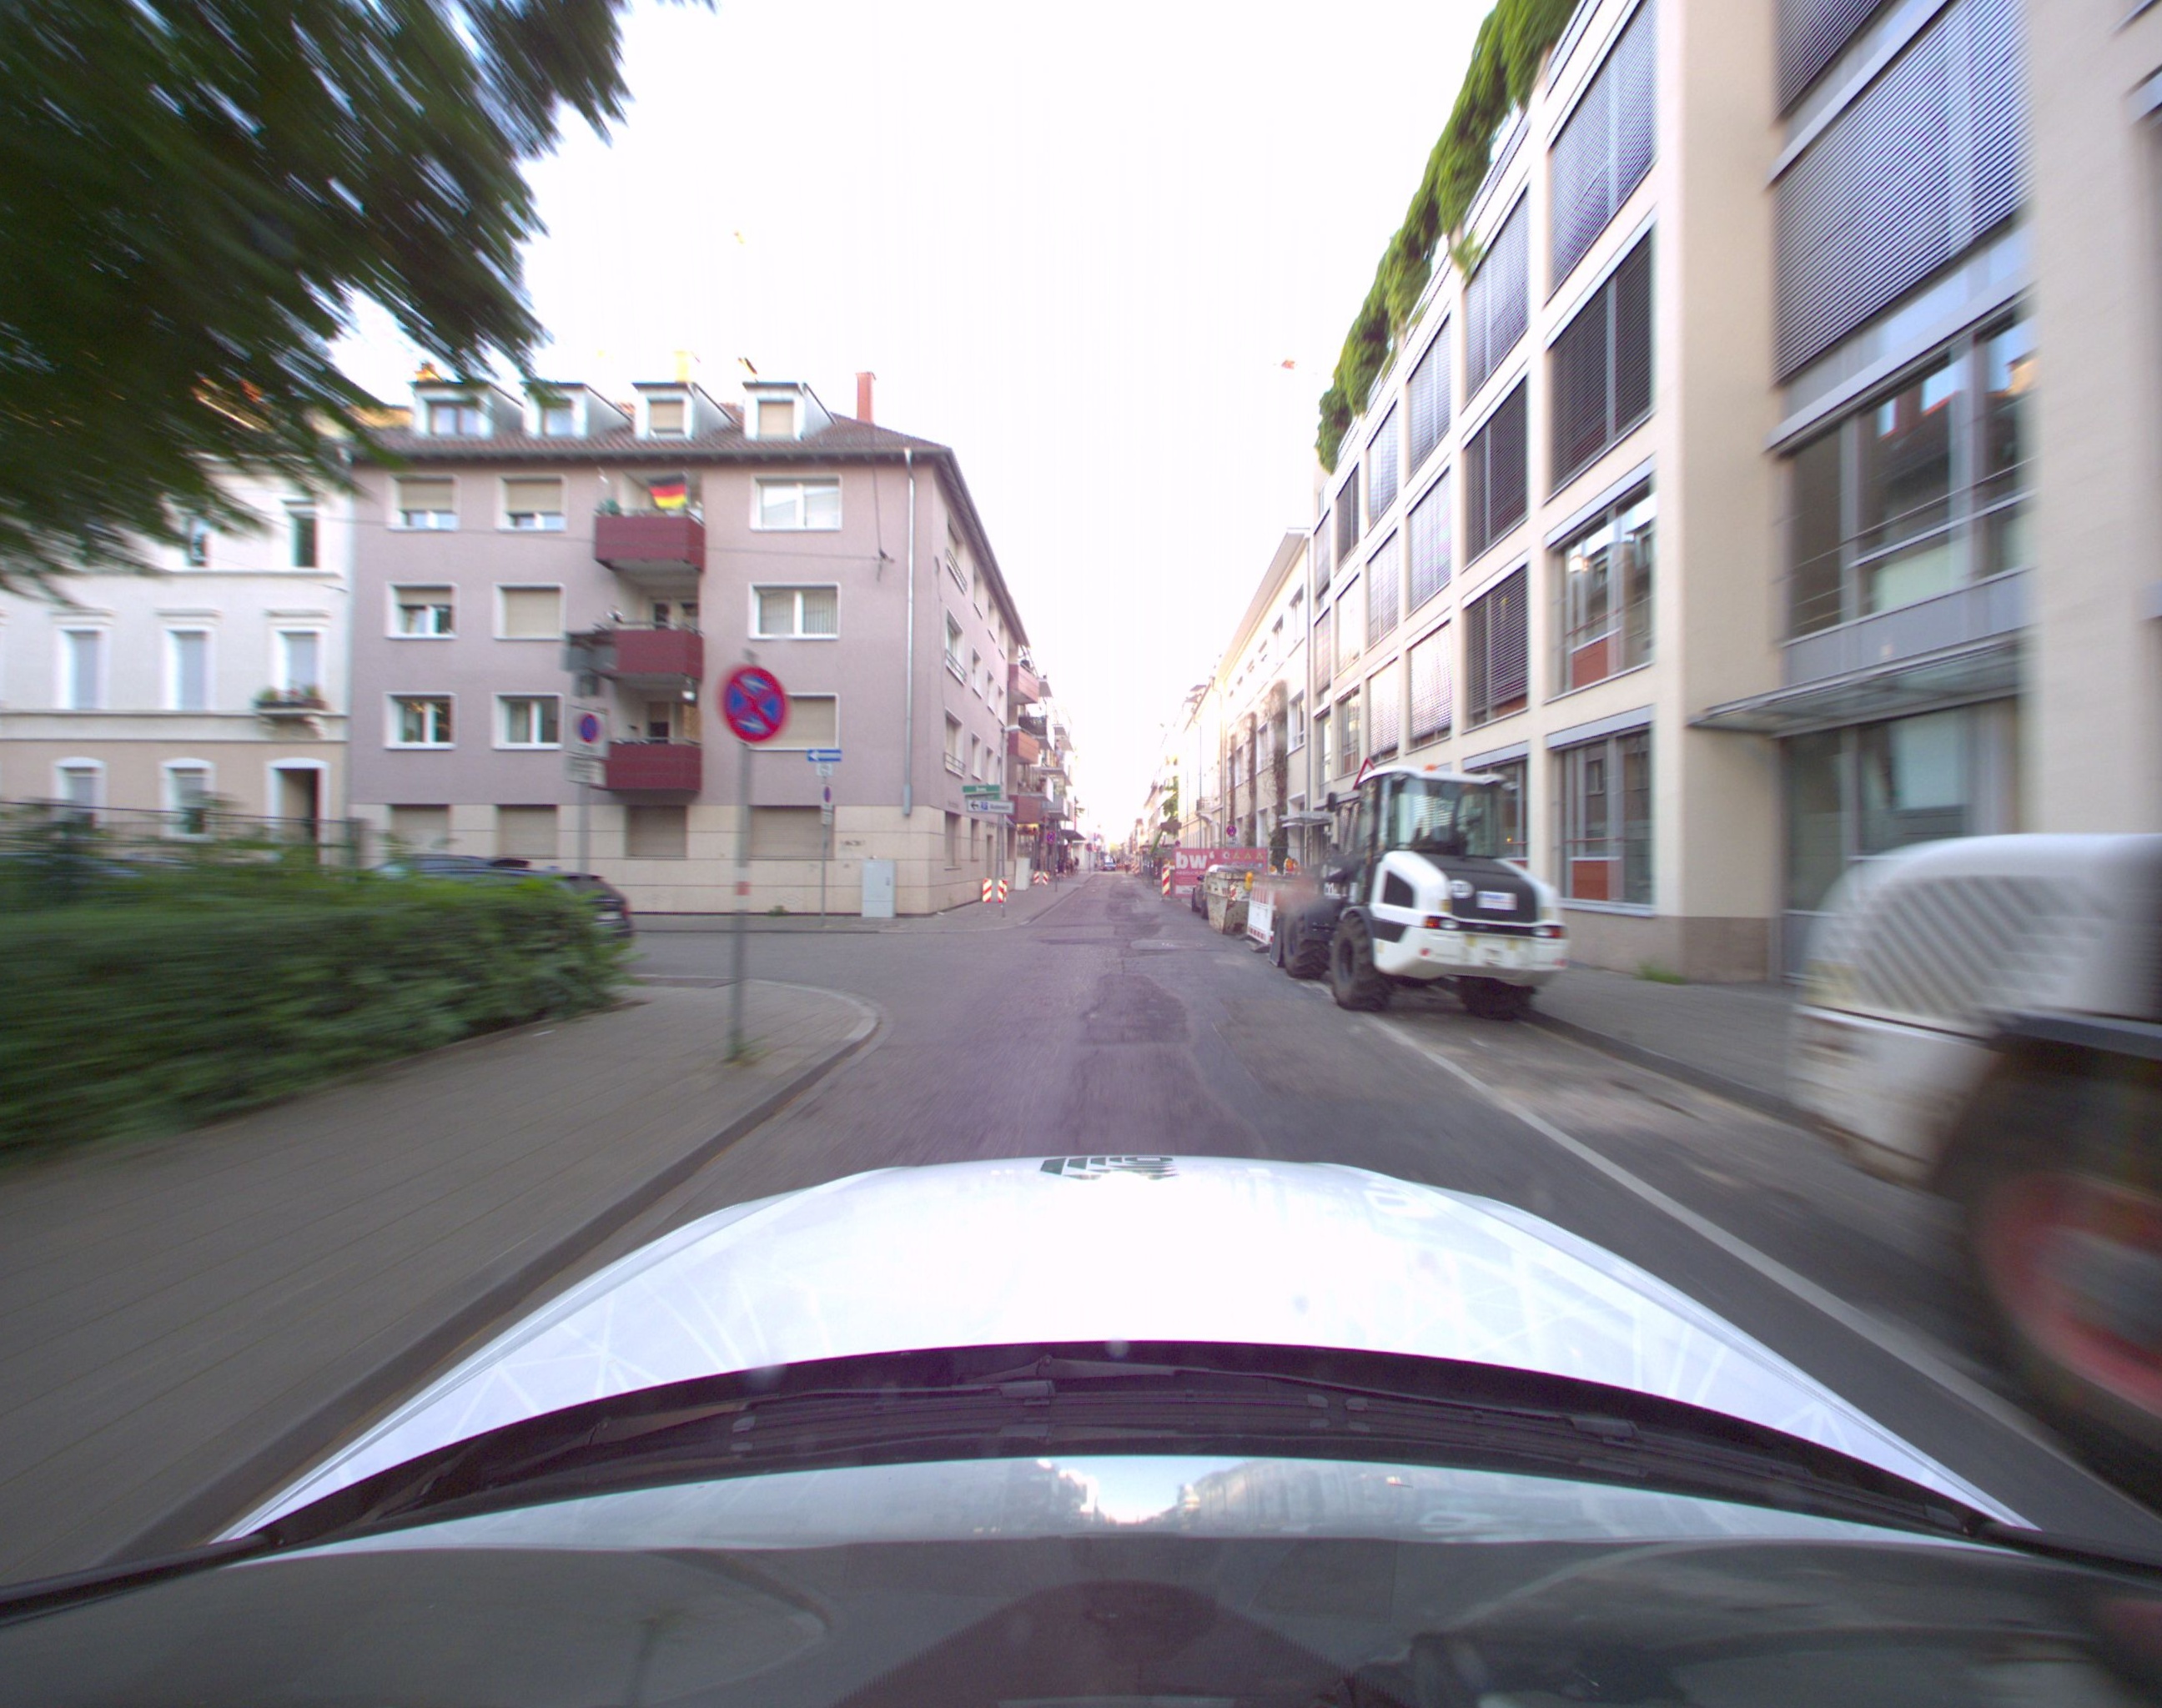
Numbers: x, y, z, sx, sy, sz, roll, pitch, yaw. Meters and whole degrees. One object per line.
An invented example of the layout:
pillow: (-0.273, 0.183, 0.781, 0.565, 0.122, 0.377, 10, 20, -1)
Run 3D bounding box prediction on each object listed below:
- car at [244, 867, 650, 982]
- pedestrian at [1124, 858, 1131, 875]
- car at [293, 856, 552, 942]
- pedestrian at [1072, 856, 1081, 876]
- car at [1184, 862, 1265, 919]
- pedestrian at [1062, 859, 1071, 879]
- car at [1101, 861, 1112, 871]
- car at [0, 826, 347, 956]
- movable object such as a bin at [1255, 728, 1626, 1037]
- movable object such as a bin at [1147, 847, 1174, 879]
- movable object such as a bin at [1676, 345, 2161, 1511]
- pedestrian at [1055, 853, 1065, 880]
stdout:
car: (-8.661, 0.929, 11.397, 4.330, 1.458, 1.686, 0, -1, 0)
pedestrian: (4.828, 1.292, 84.832, 0.718, 1.740, 0.647, 0, -1, 0)
car: (-13.477, 0.918, 16.861, 3.820, 1.656, 1.795, 0, -3, 0)
pedestrian: (-0.415, 1.096, 74.957, 0.658, 1.886, 0.568, 1, -1, -32)
car: (3.945, 0.941, 23.006, 1.687, 1.406, 4.482, 1, 0, 3)
pedestrian: (-1.147, 1.196, 65.323, 0.646, 1.565, 0.628, 0, -1, -13)
car: (3.650, 1.650, 115.332, 1.468, 1.398, 3.334, 0, -1, 2)
car: (-13.175, 0.466, 11.327, 4.351, 1.640, 1.830, 0, 0, 3)
movable object such as a bin: (3.625, 0.260, 9.660, 2.158, 2.596, 5.546, 0, -1, 2)
movable object such as a bin: (8.127, 0.889, 83.627, 2.460, 3.130, 4.300, 1, 0, 2)
movable object such as a bin: (3.304, 0.165, 1.392, 1.788, 2.634, 4.115, 0, -1, 4)
pedestrian: (-1.428, 0.859, 56.459, 0.626, 1.808, 0.648, 0, -1, 4)
